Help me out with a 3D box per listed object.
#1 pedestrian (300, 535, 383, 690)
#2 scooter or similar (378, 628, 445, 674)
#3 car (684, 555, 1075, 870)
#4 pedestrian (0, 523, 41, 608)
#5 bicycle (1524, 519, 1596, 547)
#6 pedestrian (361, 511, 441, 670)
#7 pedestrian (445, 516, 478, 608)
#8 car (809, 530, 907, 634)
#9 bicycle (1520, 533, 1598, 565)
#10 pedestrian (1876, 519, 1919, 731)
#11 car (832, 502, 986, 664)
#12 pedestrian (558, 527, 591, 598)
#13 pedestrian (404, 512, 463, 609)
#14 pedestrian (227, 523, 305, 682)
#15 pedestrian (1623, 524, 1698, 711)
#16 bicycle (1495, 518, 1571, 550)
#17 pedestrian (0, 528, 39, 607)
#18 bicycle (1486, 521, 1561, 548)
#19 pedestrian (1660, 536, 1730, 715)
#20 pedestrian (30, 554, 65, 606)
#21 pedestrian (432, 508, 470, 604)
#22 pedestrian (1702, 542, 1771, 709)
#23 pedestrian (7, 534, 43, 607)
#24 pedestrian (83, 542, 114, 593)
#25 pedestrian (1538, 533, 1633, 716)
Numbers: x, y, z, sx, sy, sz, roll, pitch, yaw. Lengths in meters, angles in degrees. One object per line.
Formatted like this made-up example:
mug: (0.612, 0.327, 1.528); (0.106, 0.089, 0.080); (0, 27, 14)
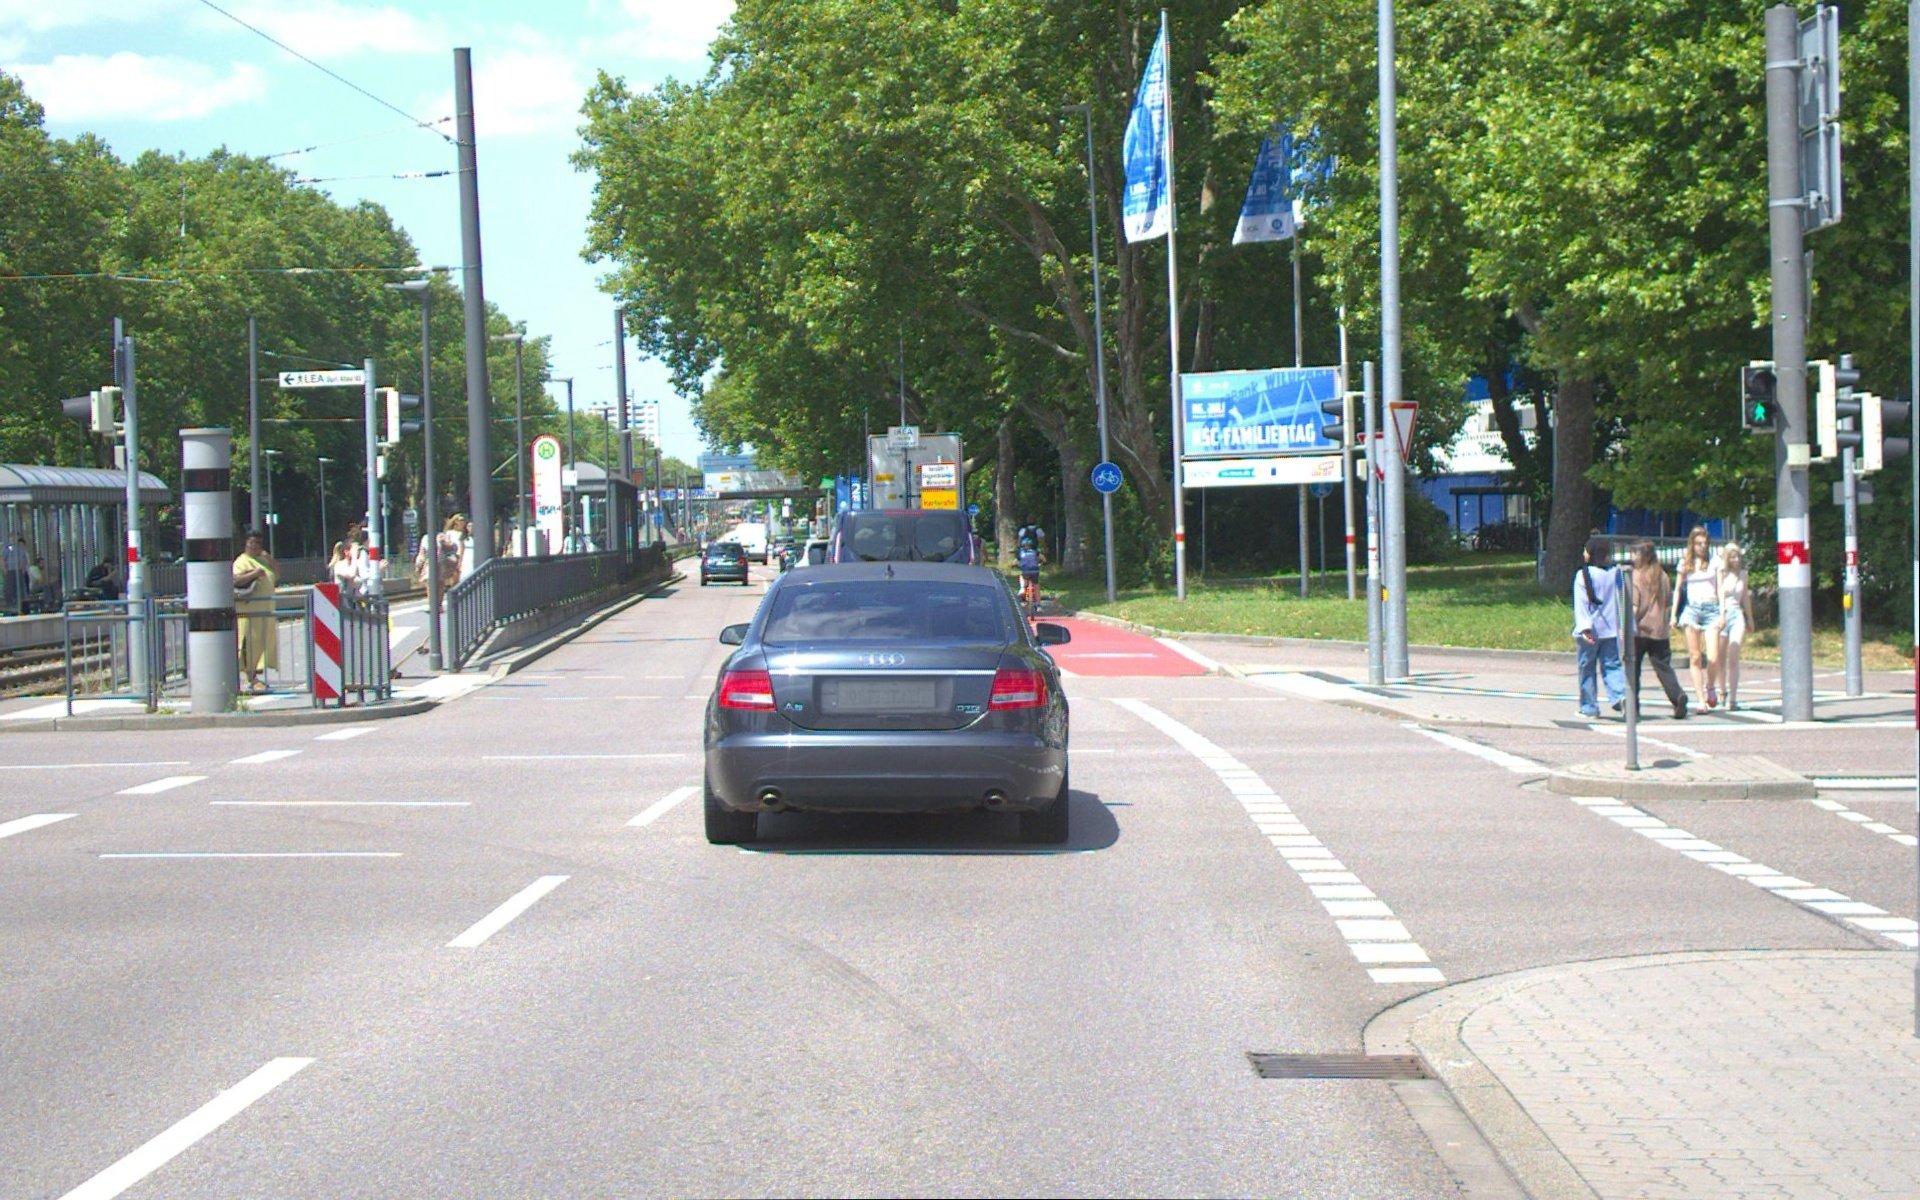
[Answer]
pedestrian: (-6.355, 0.121, 35.352); (0.785, 1.567, 0.765); (0, 1, -6)
scooter or similar: (-6.331, 0.588, 39.702); (0.726, 0.504, 0.457); (-1, 1, -6)
car: (-0.343, 0.510, 18.220); (1.842, 1.479, 4.000); (0, 1, 1)
pedestrian: (-19.346, -0.709, 70.554); (0.737, 1.723, 0.577); (0, 1, 34)
bicycle: (20.535, -2.309, 117.720); (2.315, 0.957, 0.759); (0, 1, -7)
pedestrian: (-6.414, -0.116, 39.492); (0.862, 1.796, 0.884); (0, 1, -7)
pedestrian: (-8.591, -0.656, 59.234); (0.497, 1.572, 0.557); (-1, 1, -4)
car: (-1.982, -0.374, 67.142); (1.848, 1.953, 4.145); (0, 1, -1)
bicycle: (20.894, -1.786, 119.955); (2.545, 1.107, 0.759); (0, 1, -7)
pedestrian: (7.667, 0.184, 27.187); (0.795, 1.653, 0.851); (0, 1, 14)
car: (-0.666, -0.243, 43.511); (1.848, 1.953, 4.145); (0, 1, -1)
pedestrian: (-9.088, -0.889, 81.032); (0.732, 1.660, 0.742); (-1, 1, -4)
pedestrian: (-8.778, -0.660, 57.355); (0.890, 1.599, 0.924); (-1, 1, -4)
pedestrian: (-7.367, 0.021, 36.511); (0.732, 1.667, 0.679); (0, 1, -6)
pedestrian: (6.351, 0.150, 31.166); (0.623, 1.677, 0.725); (0, 1, 15)
bicycle: (20.331, -2.345, 122.073); (2.545, 1.107, 0.759); (0, 1, -7)
pedestrian: (-19.814, -0.679, 71.978); (0.827, 1.633, 0.577); (0, 1, 34)
bicycle: (20.198, -2.358, 123.338); (2.545, 0.967, 0.759); (0, 1, -7)
pedestrian: (6.896, 0.234, 32.254); (0.527, 1.660, 0.640); (0, 1, 1)
pedestrian: (-19.809, -0.435, 74.638); (0.576, 1.091, 0.639); (-1, 1, -2)
pedestrian: (-8.958, -0.781, 60.536); (0.613, 1.675, 0.720); (0, 1, -5)
pedestrian: (7.400, 0.231, 32.761); (0.527, 1.574, 0.612); (0, 1, 1)
pedestrian: (-19.784, -0.634, 72.752); (0.576, 1.528, 0.639); (-1, 1, -2)
pedestrian: (-20.605, -0.782, 82.203); (0.576, 1.186, 0.639); (-1, 1, -2)
pedestrian: (5.580, 0.204, 30.648); (0.766, 1.601, 0.896); (0, 1, 15)
